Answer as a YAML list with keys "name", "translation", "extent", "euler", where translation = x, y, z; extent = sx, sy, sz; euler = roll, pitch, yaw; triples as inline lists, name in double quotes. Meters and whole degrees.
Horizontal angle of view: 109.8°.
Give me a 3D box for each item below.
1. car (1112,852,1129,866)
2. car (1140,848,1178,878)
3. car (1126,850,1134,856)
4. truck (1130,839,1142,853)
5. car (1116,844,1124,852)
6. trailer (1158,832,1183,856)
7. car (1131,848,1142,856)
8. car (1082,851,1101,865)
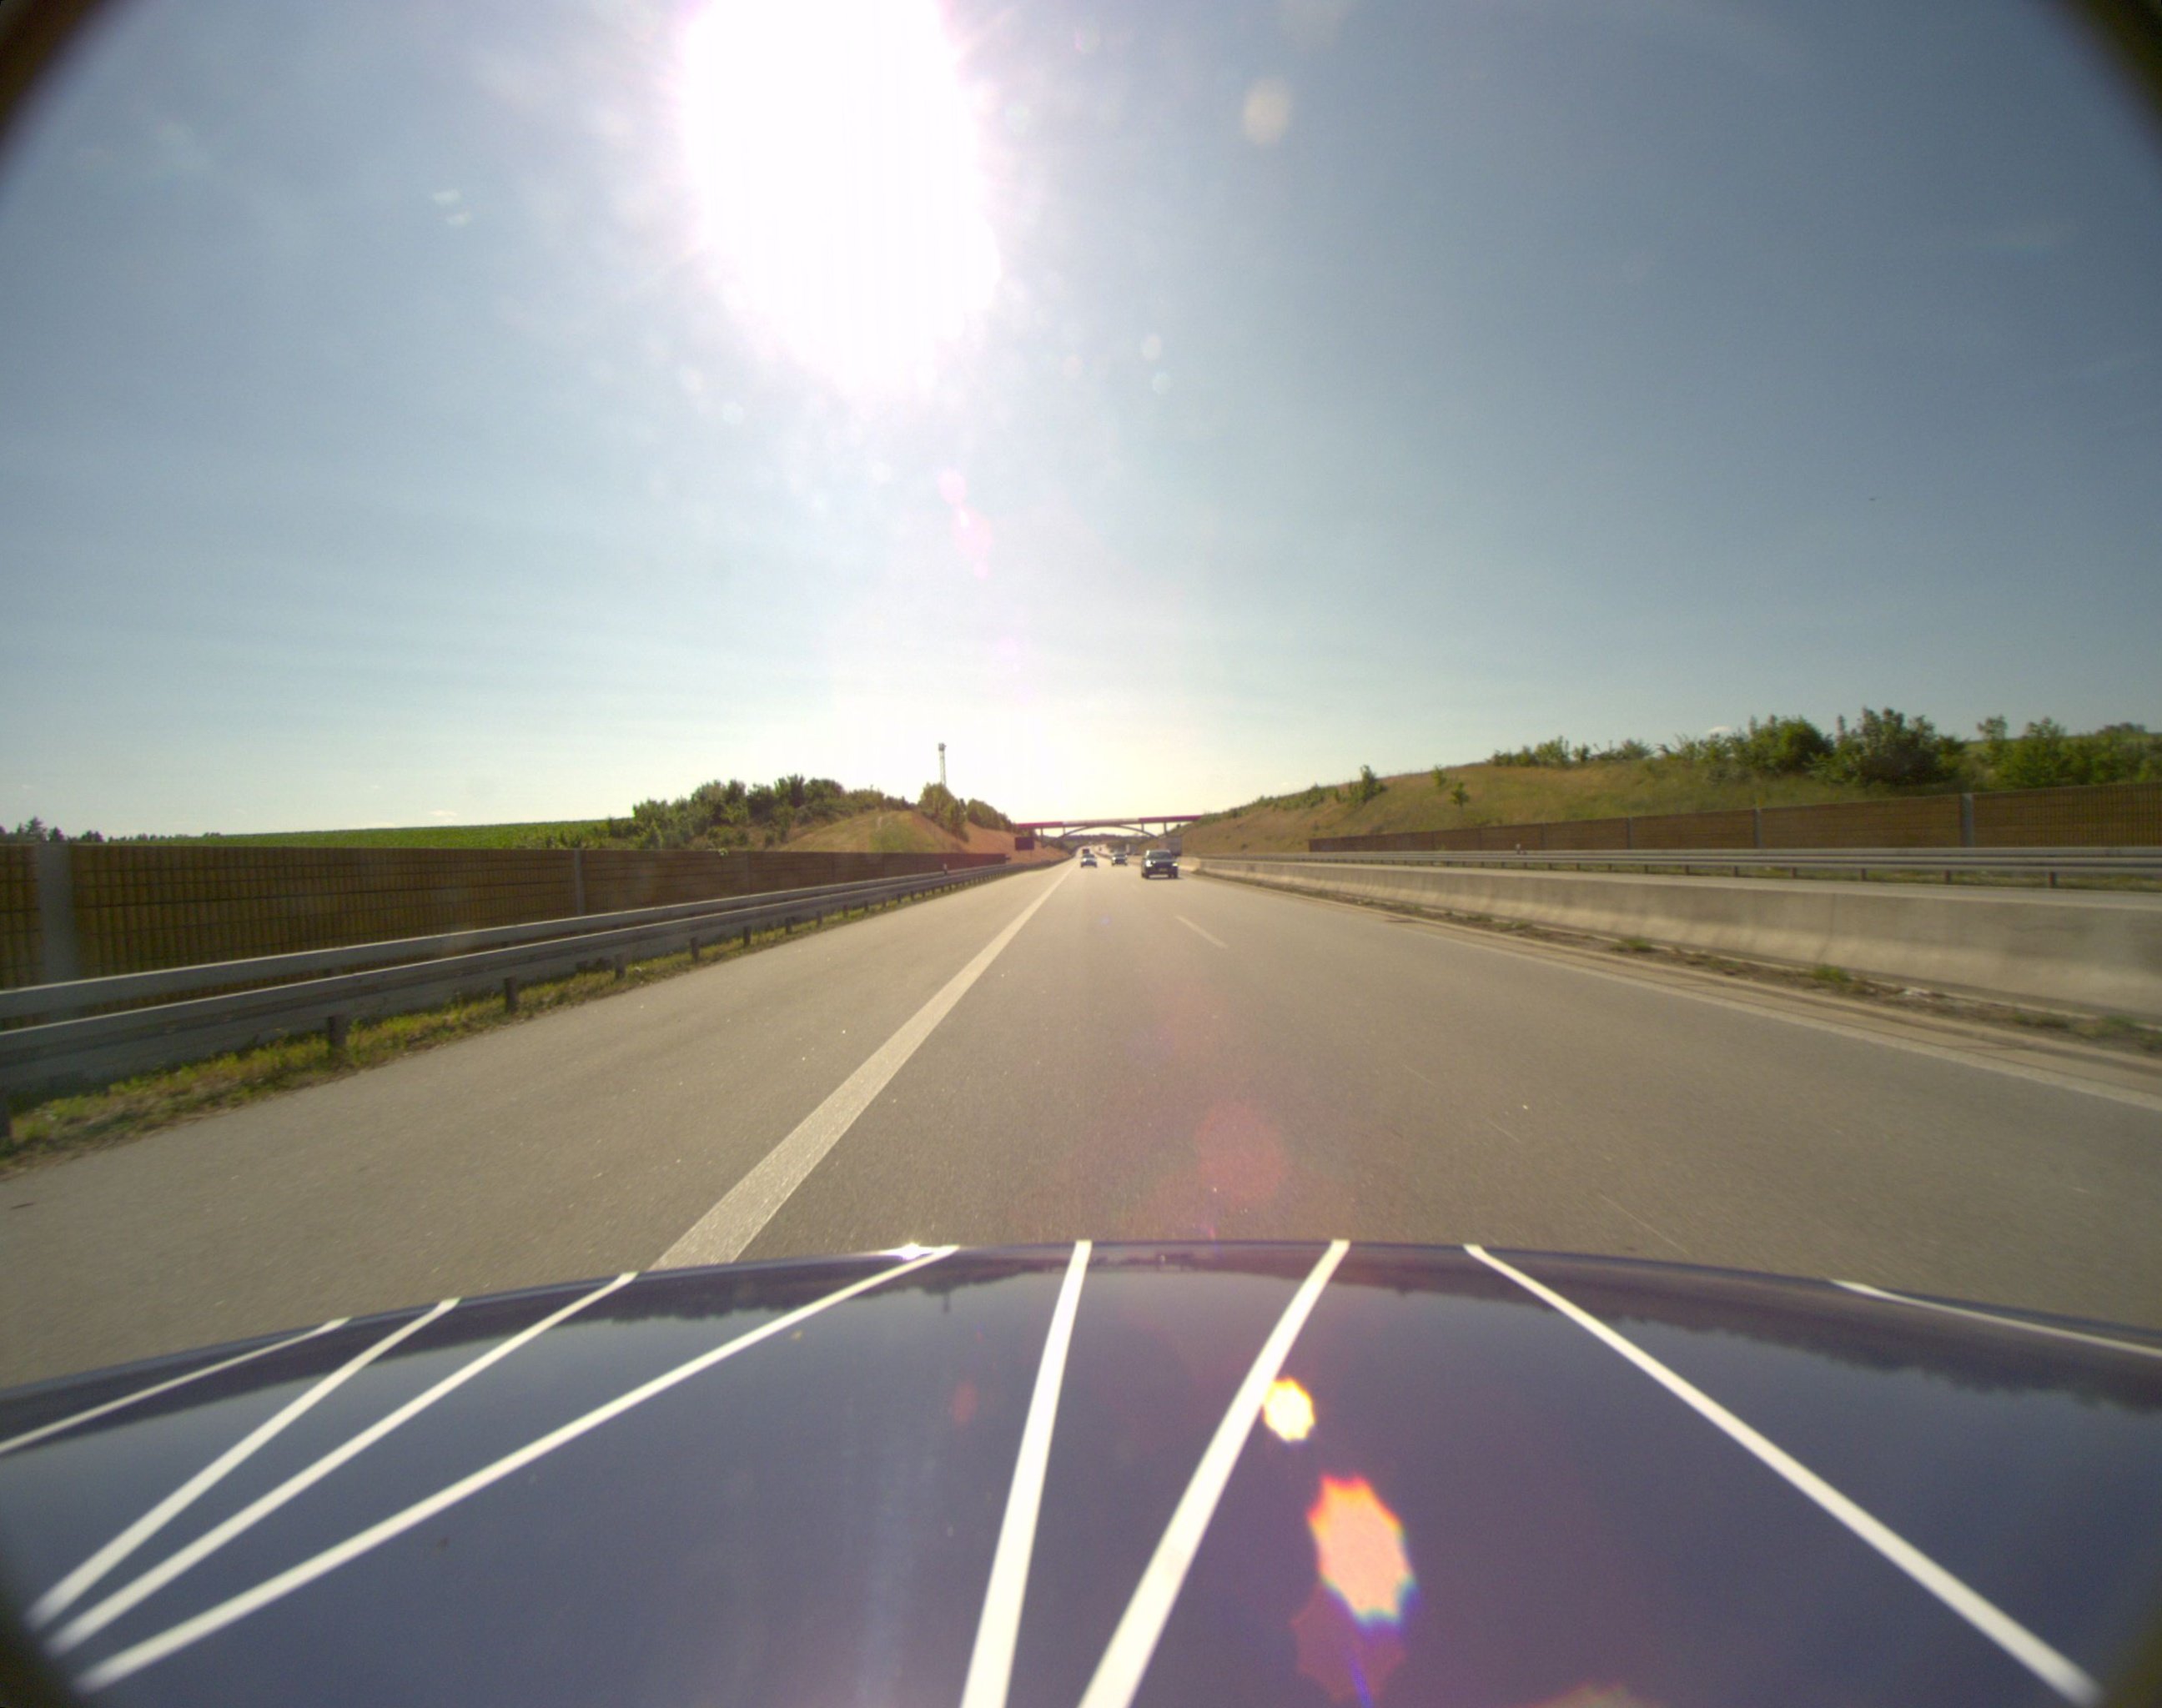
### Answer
- name: "car"
  translation: [4.679, 0.542, 90.324]
  extent: [1.776, 1.560, 4.988]
  euler: [-2, 1, 1]
- name: "car"
  translation: [4.467, 0.493, 44.213]
  extent: [1.726, 1.578, 5.221]
  euler: [-2, 1, 1]
- name: "car"
  translation: [12.525, -0.370, 195.189]
  extent: [1.690, 1.496, 4.163]
  euler: [-2, 0, 0]
- name: "truck"
  translation: [17.363, -2.580, 242.530]
  extent: [3.023, 4.284, 12.734]
  euler: [-2, 0, 1]
- name: "car"
  translation: [12.214, -1.923, 236.952]
  extent: [2.211, 2.441, 5.832]
  euler: [-2, 1, 0]
- name: "trailer"
  translation: [15.554, -1.694, 133.296]
  extent: [2.645, 3.853, 13.733]
  euler: [-2, 1, 0]
- name: "car"
  translation: [11.600, -0.387, 158.415]
  extent: [1.801, 1.584, 4.658]
  euler: [-2, 0, 0]
- name: "car"
  translation: [1.168, 0.415, 82.278]
  extent: [1.909, 1.449, 4.375]
  euler: [-2, 1, 2]
